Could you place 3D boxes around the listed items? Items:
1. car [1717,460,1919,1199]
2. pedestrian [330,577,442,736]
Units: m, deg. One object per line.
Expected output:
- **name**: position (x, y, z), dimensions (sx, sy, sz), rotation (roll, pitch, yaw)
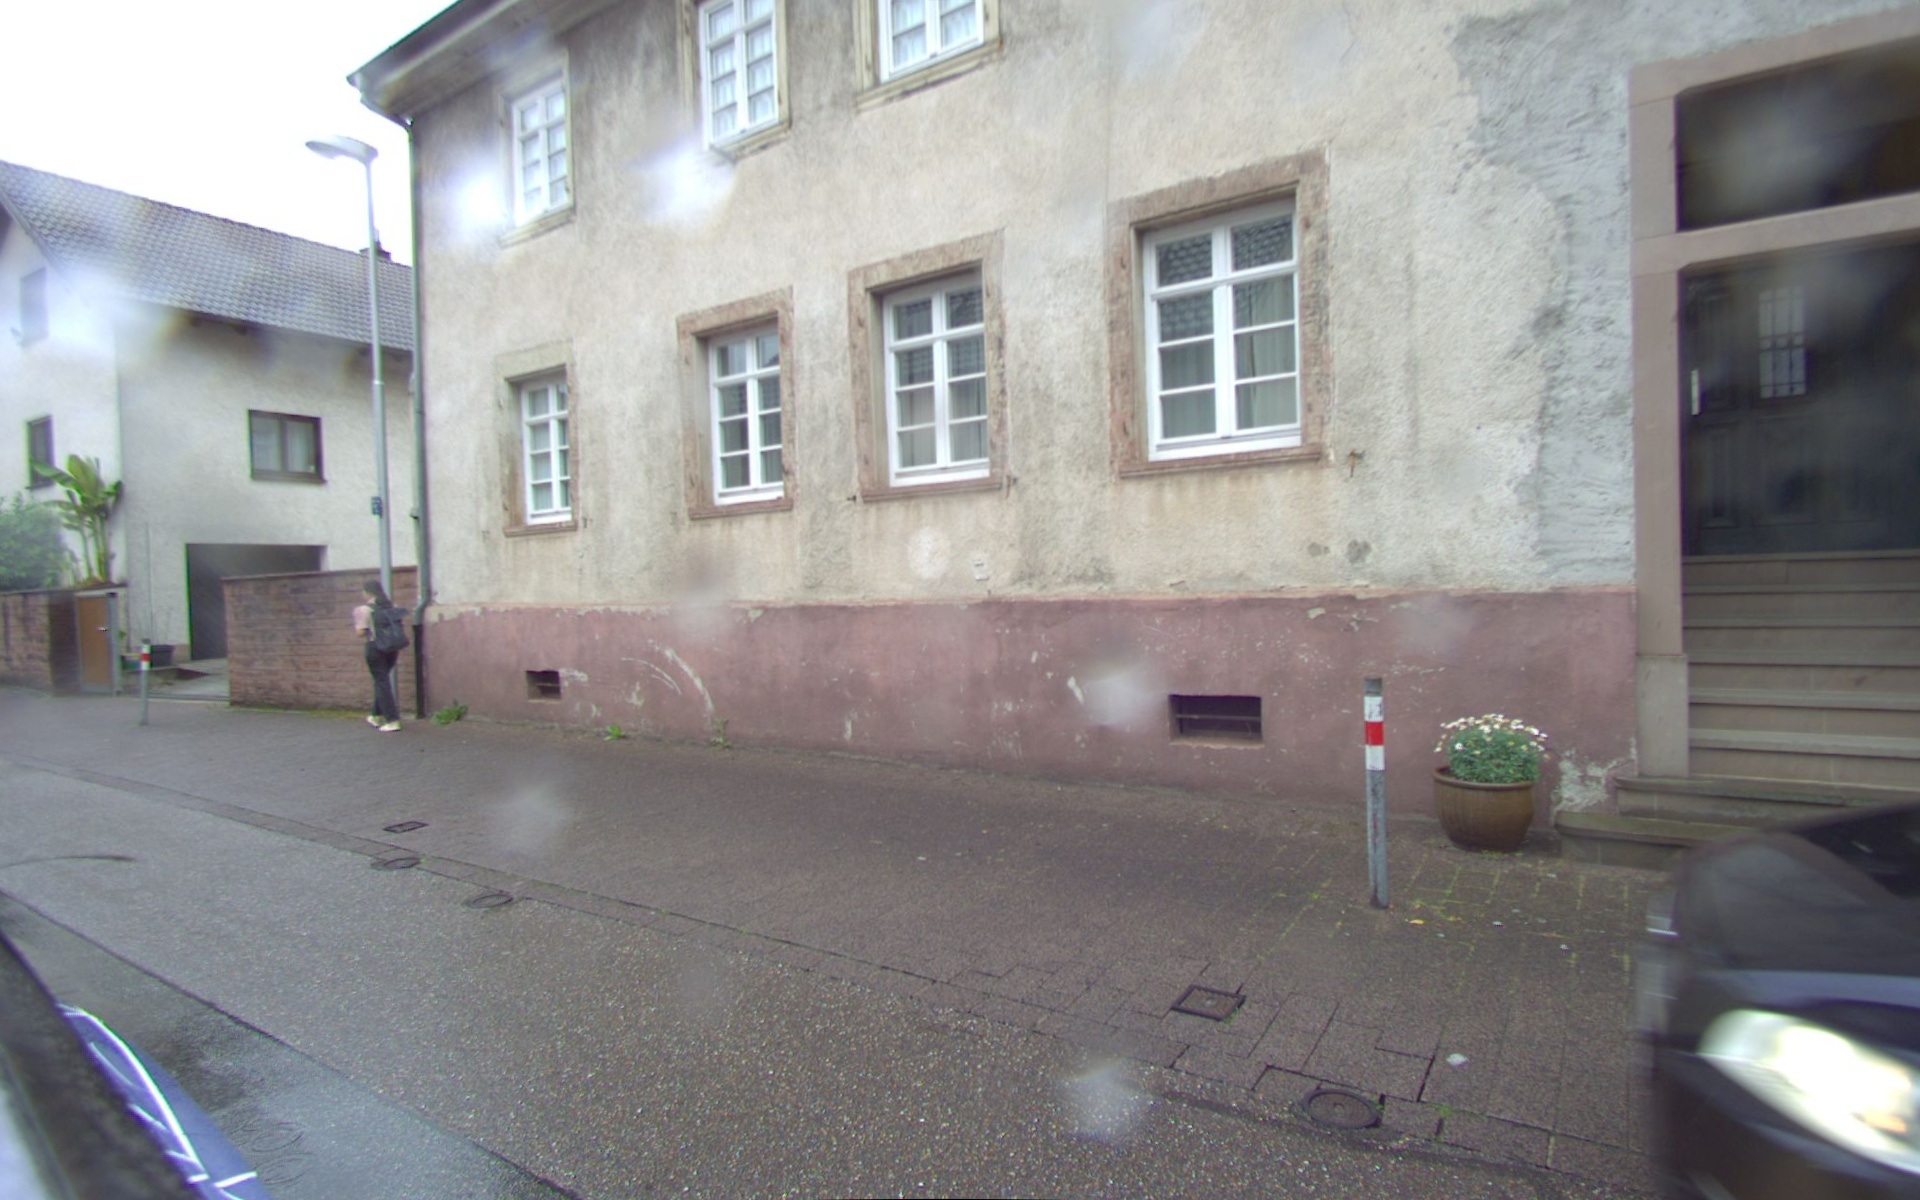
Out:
- **car**: position (3.307, 0.536, 0.750), dimensions (4.333, 1.520, 1.681), rotation (-1, 1, 36)
- **pedestrian**: position (-5.906, 0.561, 10.420), dimensions (0.829, 1.549, 0.568), rotation (-1, 3, 29)
